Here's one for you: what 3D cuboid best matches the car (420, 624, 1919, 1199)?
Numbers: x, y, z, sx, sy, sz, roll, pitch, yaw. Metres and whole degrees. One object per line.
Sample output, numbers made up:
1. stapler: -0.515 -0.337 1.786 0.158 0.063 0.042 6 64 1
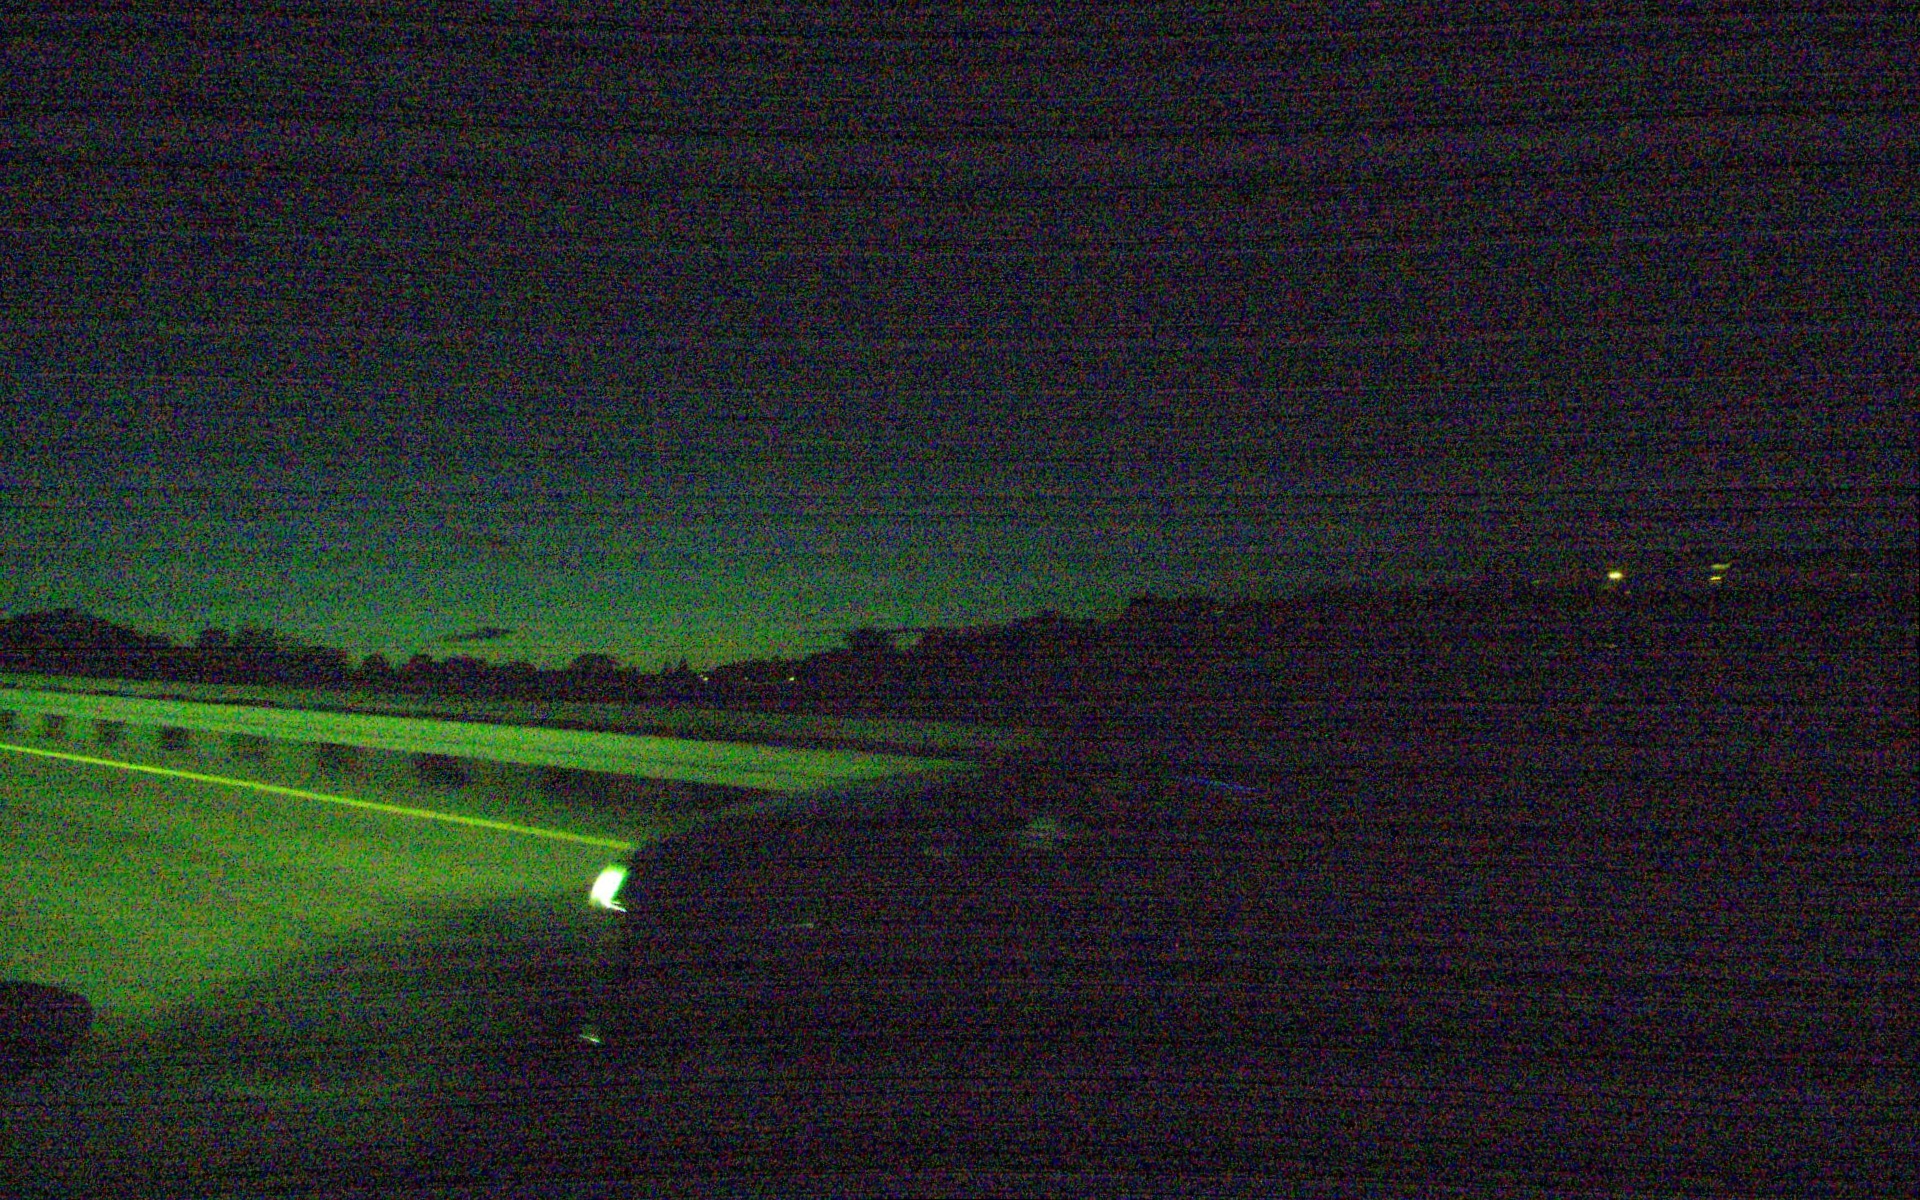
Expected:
1. car: 0.542 0.819 3.055 4.806 1.445 1.804 -1 0 33
